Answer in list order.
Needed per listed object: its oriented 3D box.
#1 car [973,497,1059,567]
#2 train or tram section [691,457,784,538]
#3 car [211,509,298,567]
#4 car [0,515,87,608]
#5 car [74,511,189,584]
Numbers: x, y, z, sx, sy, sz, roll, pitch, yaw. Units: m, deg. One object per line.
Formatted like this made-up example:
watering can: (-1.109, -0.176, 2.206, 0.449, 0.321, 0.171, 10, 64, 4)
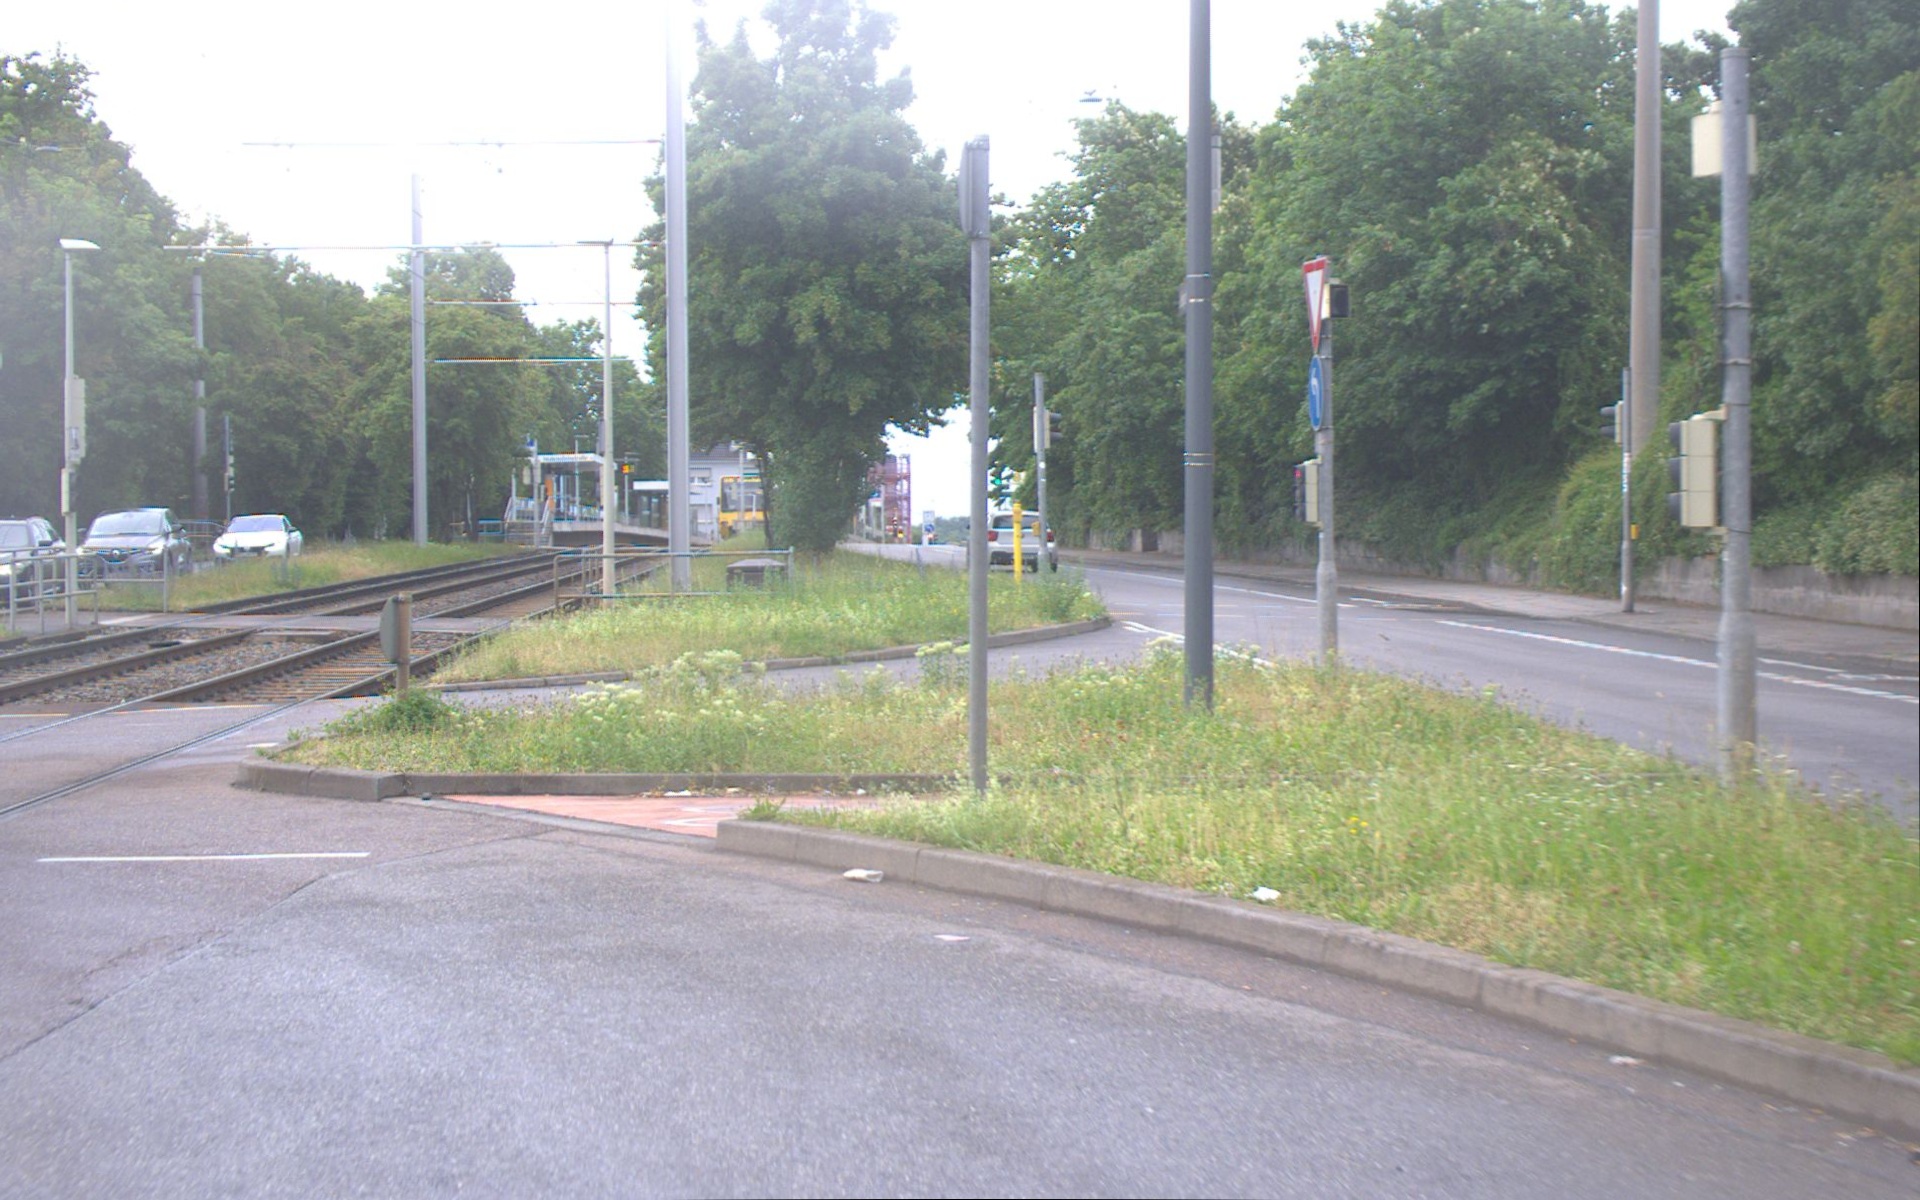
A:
car: (1.263, -1.587, 78.896, 1.703, 1.516, 3.792, 1, 2, -3)
train or tram section: (-11.085, -5.066, 172.790, 4.060, 3.881, 15.041, 0, 1, -2)
car: (-18.189, -1.623, 88.770, 1.601, 1.397, 3.792, -2, 2, -3)
car: (-15.390, -0.629, 55.813, 1.601, 1.397, 3.792, -2, 2, -3)
car: (-16.902, -1.093, 70.275, 1.601, 1.397, 3.792, -1, 2, -3)
